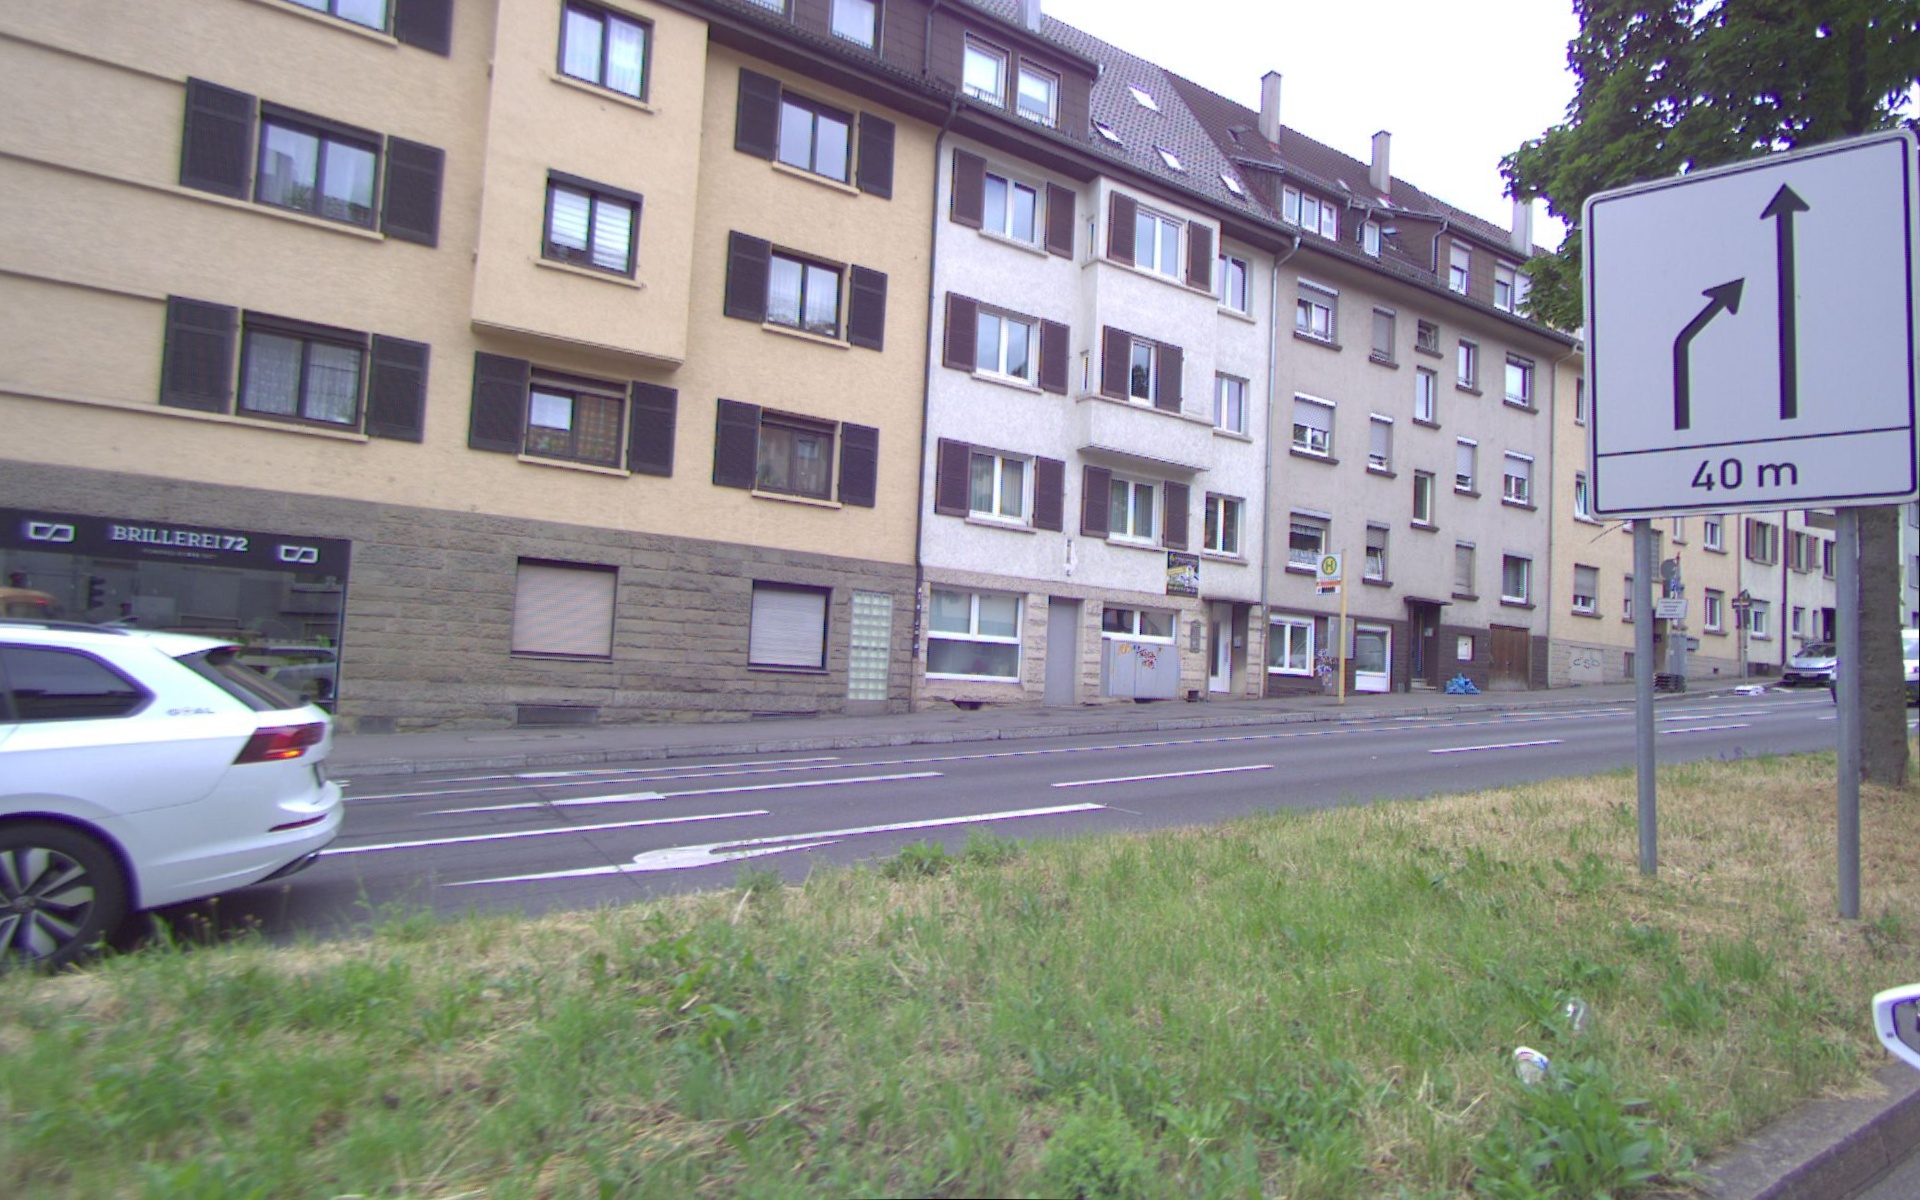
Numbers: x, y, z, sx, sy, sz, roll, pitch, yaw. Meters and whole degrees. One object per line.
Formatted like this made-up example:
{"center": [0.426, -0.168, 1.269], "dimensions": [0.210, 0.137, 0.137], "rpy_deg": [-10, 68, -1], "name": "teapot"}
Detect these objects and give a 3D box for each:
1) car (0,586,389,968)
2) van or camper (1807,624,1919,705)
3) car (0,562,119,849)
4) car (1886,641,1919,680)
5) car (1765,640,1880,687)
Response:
{"center": [-5.005, 0.690, 4.161], "dimensions": [4.534, 1.486, 1.737], "rpy_deg": [2, -3, -31], "name": "car"}
{"center": [22.465, 1.513, 24.058], "dimensions": [4.600, 1.784, 1.899], "rpy_deg": [2, -2, -30], "name": "van or camper"}
{"center": [-8.270, 0.701, 6.299], "dimensions": [4.299, 1.840, 1.871], "rpy_deg": [0, -1, -30], "name": "car"}
{"center": [40.716, 2.542, 41.905], "dimensions": [4.333, 1.572, 1.983], "rpy_deg": [2, -3, -32], "name": "car"}
{"center": [30.903, 2.259, 35.969], "dimensions": [4.112, 1.572, 1.983], "rpy_deg": [2, -3, -32], "name": "car"}
